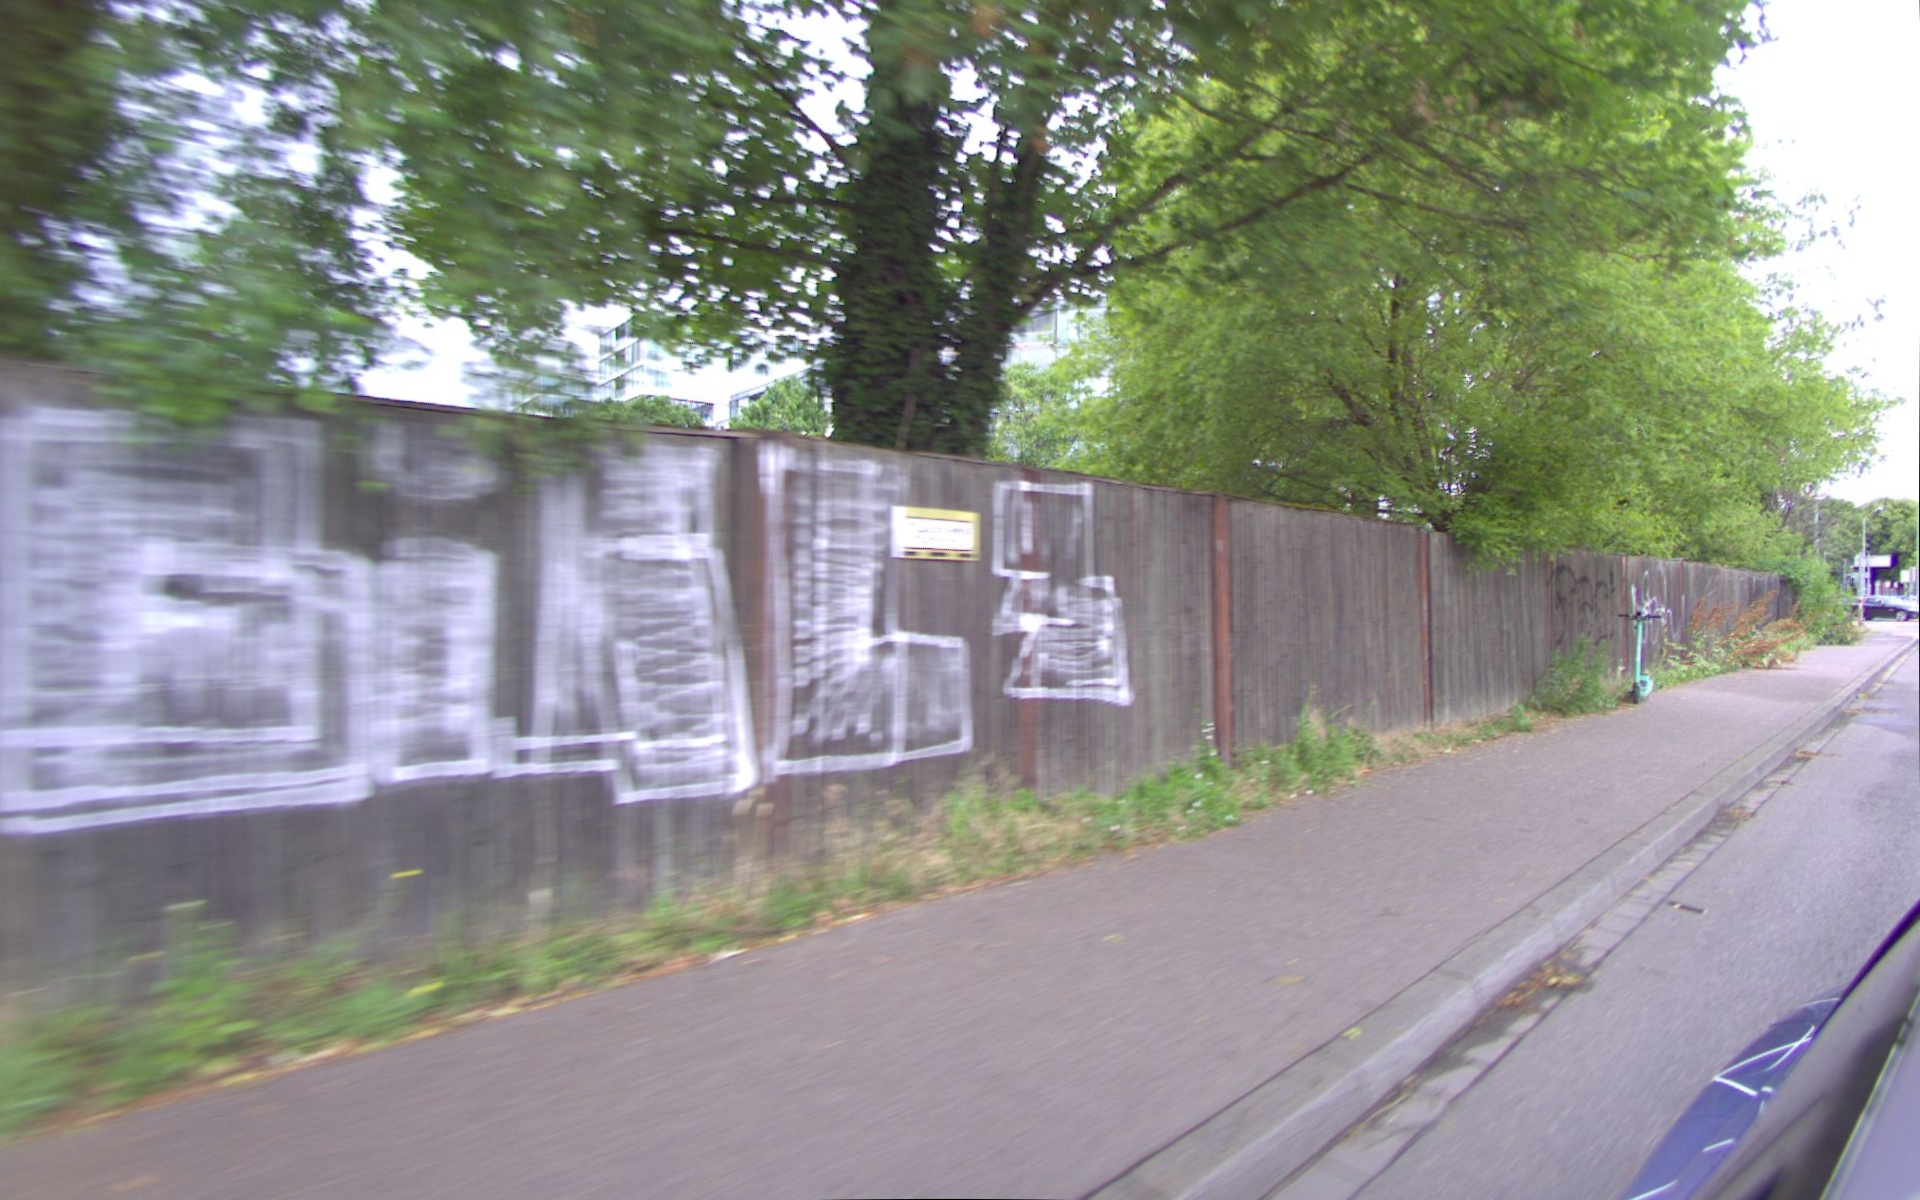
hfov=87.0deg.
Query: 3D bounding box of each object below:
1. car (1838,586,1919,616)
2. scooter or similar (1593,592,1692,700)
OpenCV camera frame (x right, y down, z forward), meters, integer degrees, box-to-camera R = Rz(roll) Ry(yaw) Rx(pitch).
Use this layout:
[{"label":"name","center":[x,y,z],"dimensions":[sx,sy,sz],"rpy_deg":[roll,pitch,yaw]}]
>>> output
[{"label":"car","center":[53.365,0.065,57.887],"dimensions":[1.960,1.638,4.363],"rpy_deg":[1,0,-31]},{"label":"scooter or similar","center":[9.179,0.573,13.568],"dimensions":[0.691,1.329,2.315],"rpy_deg":[0,0,44]}]
